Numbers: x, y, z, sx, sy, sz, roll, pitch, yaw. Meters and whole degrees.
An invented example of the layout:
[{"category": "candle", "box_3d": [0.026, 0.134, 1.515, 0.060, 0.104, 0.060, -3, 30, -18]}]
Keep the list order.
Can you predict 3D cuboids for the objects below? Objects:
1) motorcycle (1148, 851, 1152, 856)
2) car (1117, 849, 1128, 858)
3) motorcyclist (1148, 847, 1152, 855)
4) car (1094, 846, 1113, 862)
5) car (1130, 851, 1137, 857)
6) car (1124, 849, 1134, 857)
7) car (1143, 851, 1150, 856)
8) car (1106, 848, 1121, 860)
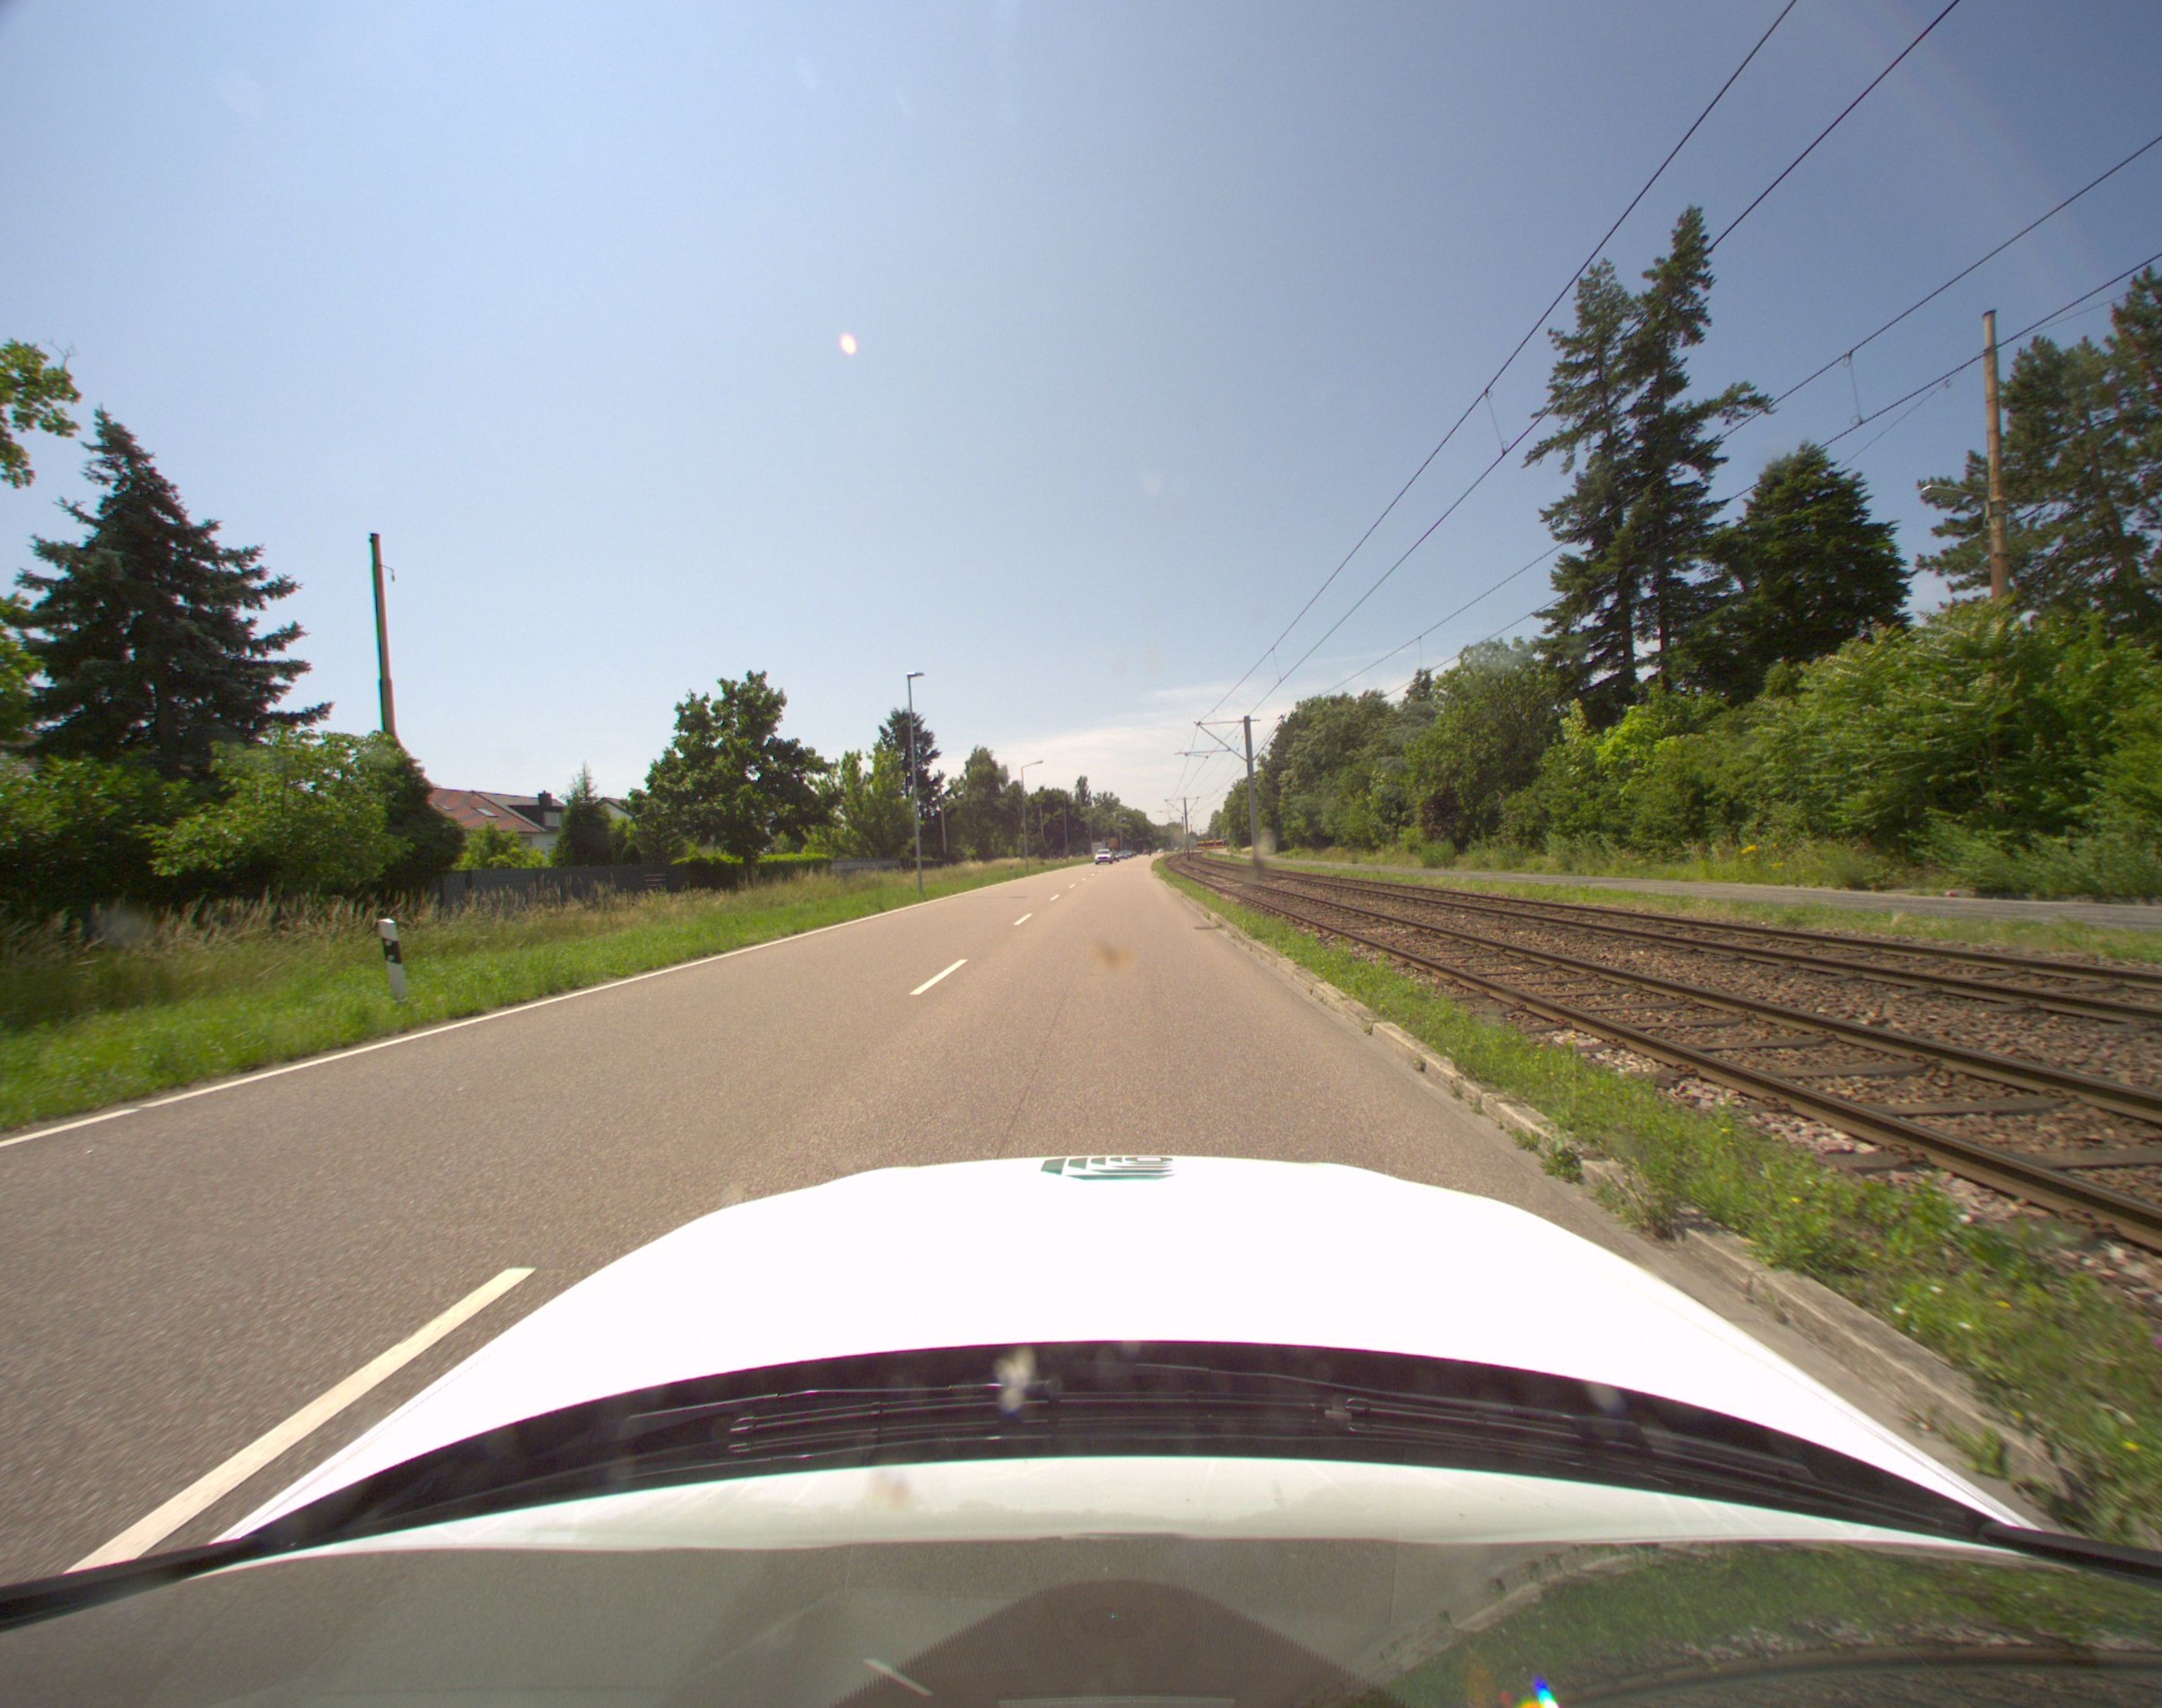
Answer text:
[{"category": "motorcycle", "box_3d": [15.781, -0.118, 185.744, 0.965, 1.117, 2.737, -2, 0, 5]}, {"category": "car", "box_3d": [7.277, -0.147, 143.915, 1.809, 1.493, 4.368, -2, 0, 4]}, {"category": "motorcyclist", "box_3d": [15.750, -0.723, 185.762, 0.887, 1.905, 1.017, -2, 0, 5]}, {"category": "car", "box_3d": [2.742, 0.025, 98.724, 1.927, 1.796, 4.717, -2, 0, 4]}, {"category": "car", "box_3d": [13.078, 0.010, 202.713, 1.620, 1.490, 4.368, -2, 0, 4]}, {"category": "car", "box_3d": [9.506, -0.227, 160.142, 1.809, 1.538, 4.368, -2, 0, 4]}, {"category": "car", "box_3d": [19.955, -0.217, 247.847, 1.618, 1.395, 4.373, -2, 0, 8]}, {"category": "car", "box_3d": [4.635, 0.013, 115.329, 1.809, 1.528, 4.368, -2, 0, 4]}]
